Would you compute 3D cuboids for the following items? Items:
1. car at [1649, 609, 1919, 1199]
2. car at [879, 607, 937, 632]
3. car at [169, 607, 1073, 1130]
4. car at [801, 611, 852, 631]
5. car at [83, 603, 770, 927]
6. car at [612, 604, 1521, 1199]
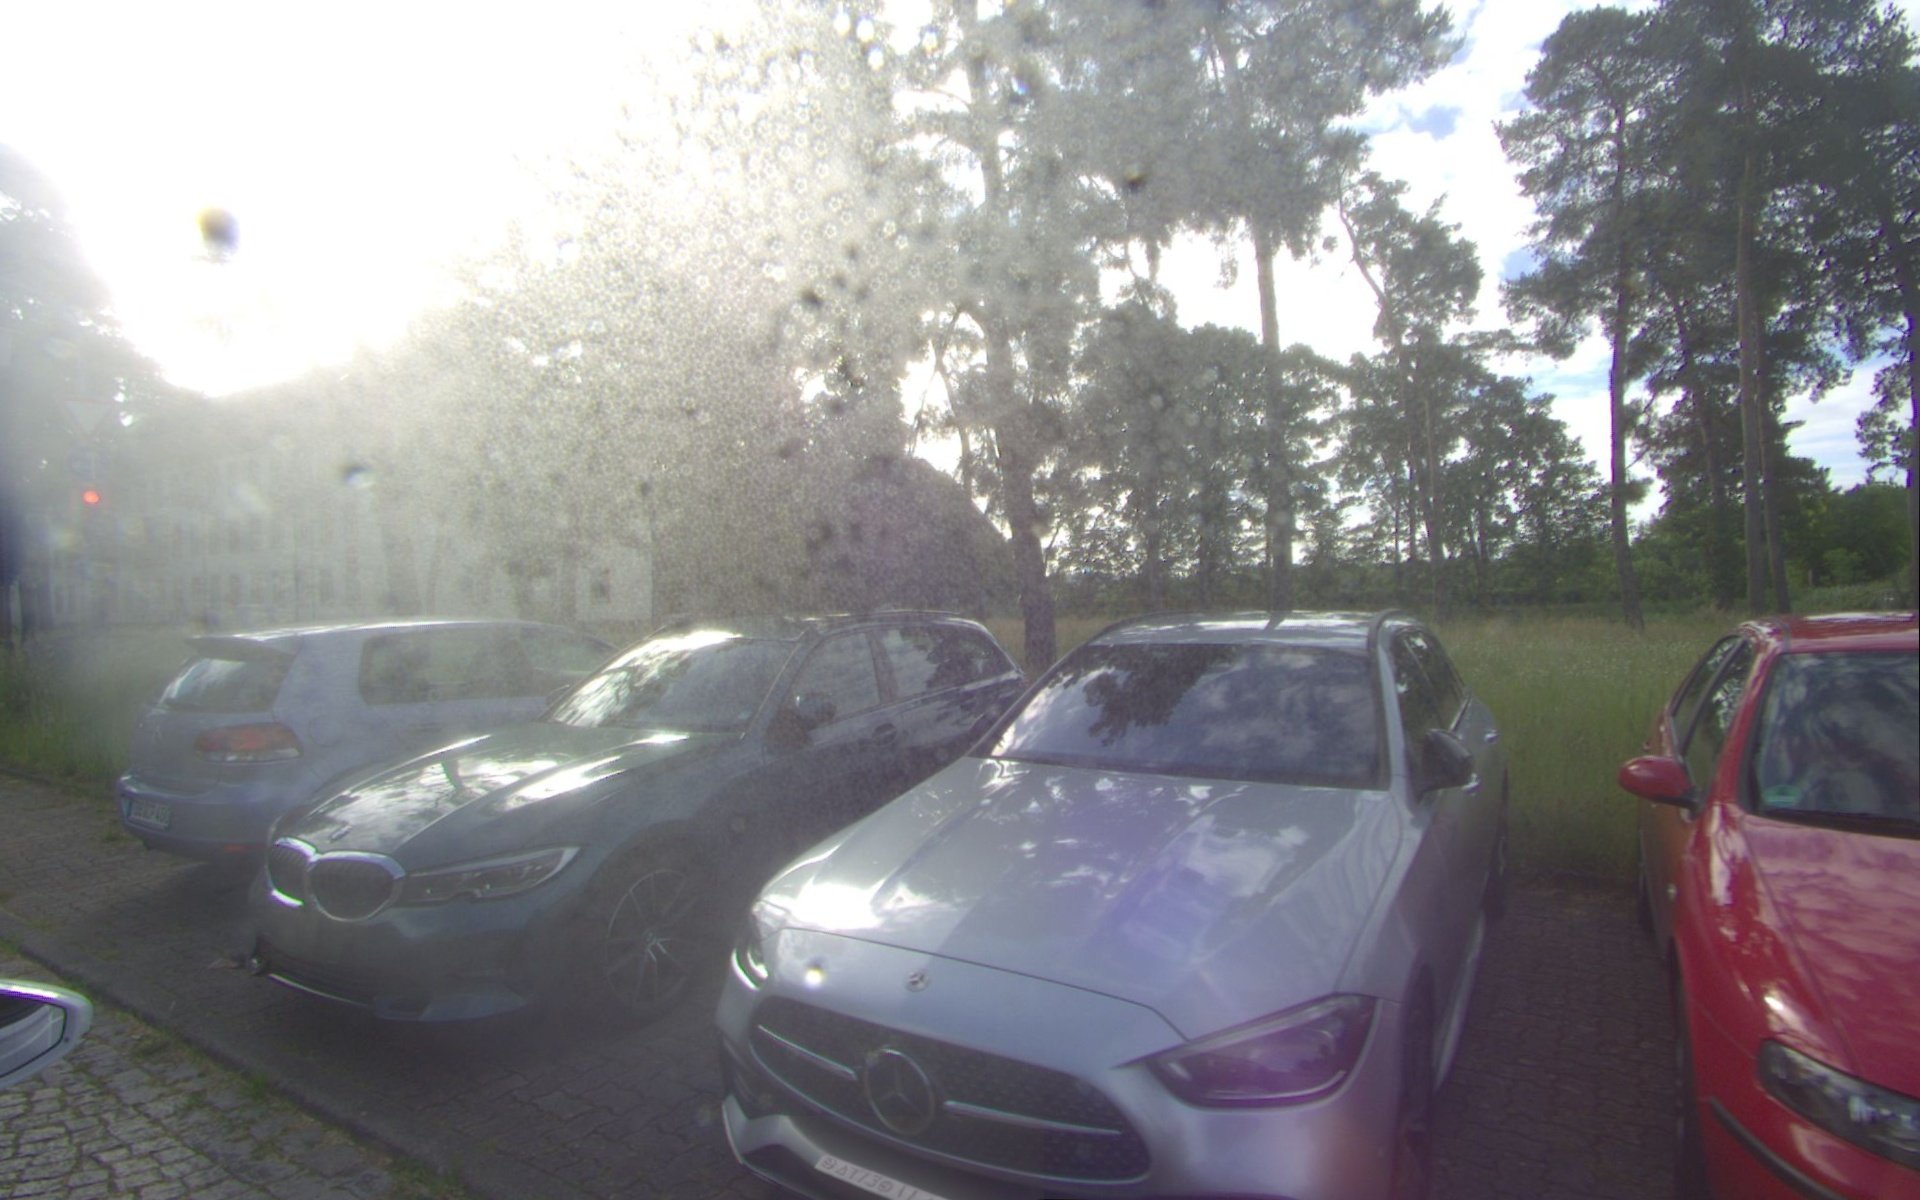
[{"bbox_3d":[3.084,0.763,2.898,1.696,1.442,4.097,-1,0,33],"label":"car"},{"bbox_3d":[-3.562,1.337,68.680,3.922,1.622,1.999,-1,0,-4],"label":"car"},{"bbox_3d":[-1.123,0.808,5.327,1.781,1.503,4.506,0,0,30],"label":"car"},{"bbox_3d":[-9.857,1.583,74.147,1.541,1.415,3.980,-1,-3,33],"label":"car"},{"bbox_3d":[-3.219,0.801,6.822,1.618,1.490,3.834,0,0,32],"label":"car"},{"bbox_3d":[1.036,0.779,3.795,1.741,1.448,4.316,0,1,32],"label":"car"}]
